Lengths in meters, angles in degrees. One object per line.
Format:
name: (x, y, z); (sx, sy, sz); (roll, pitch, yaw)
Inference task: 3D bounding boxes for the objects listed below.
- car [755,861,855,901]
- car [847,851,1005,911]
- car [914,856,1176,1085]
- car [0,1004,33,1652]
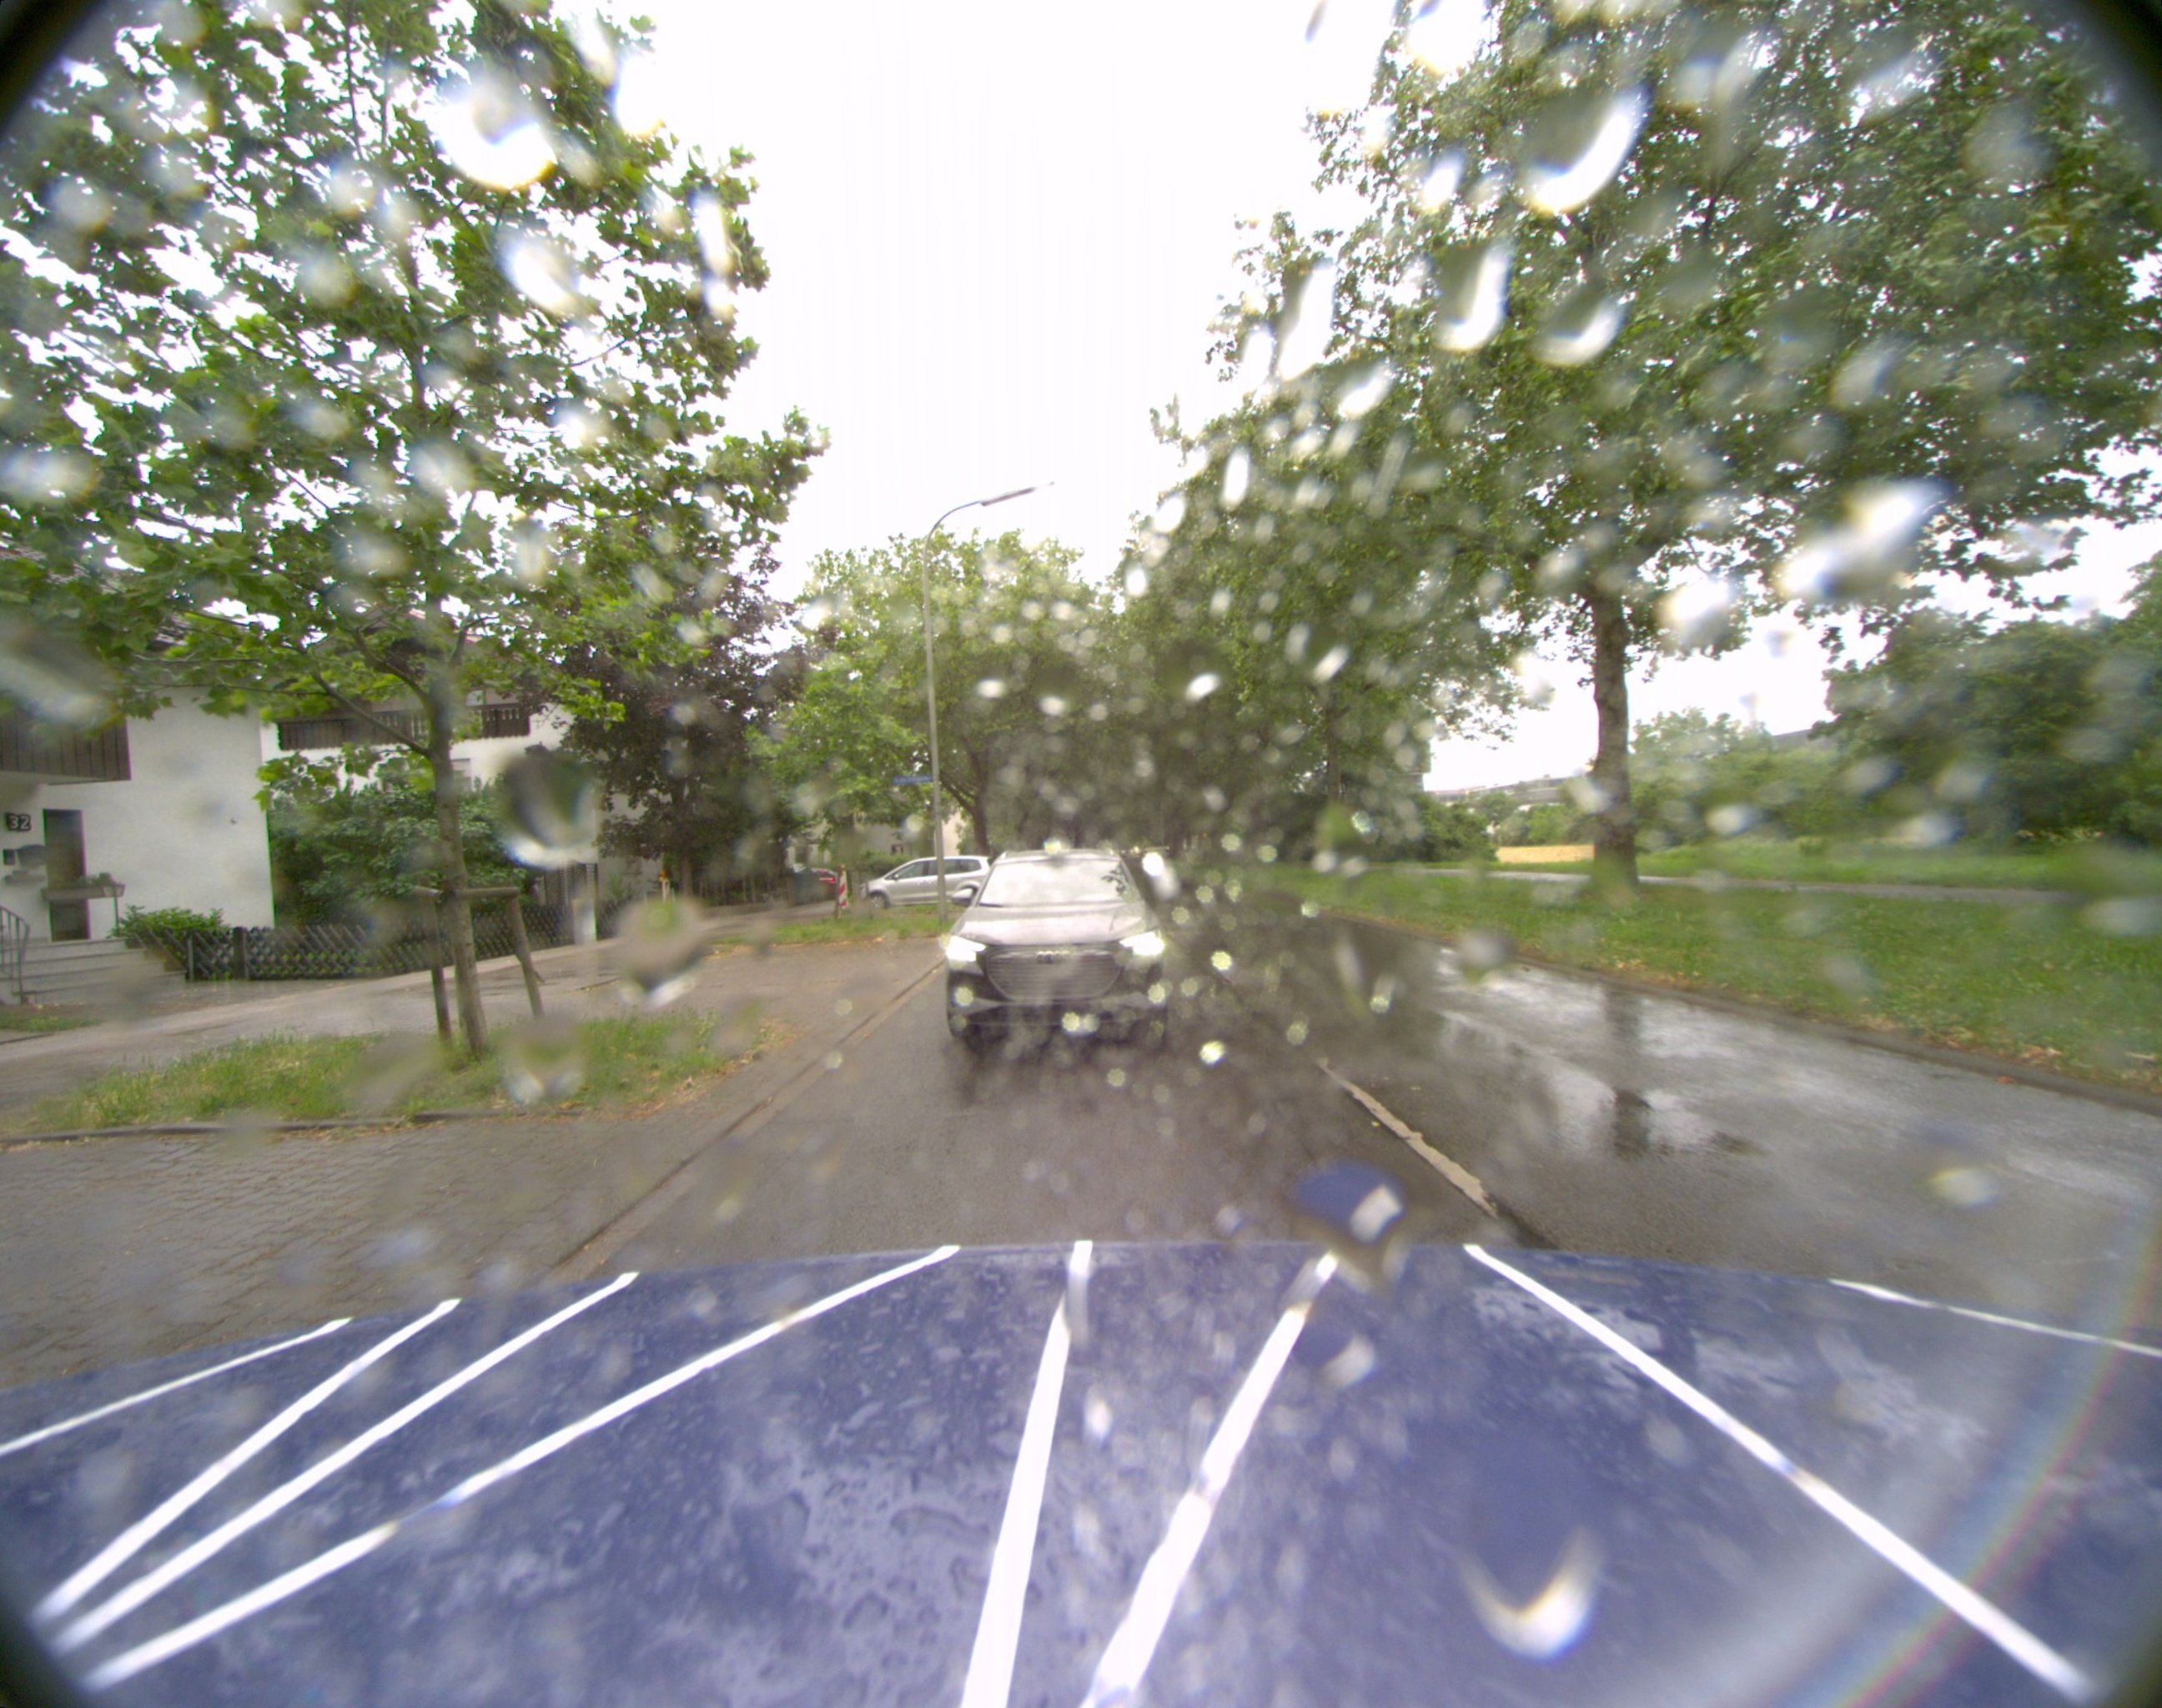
car: (-12.645, 1.239, 34.946); (3.853, 1.603, 1.843); (-3, 0, 2)
car: (-4.944, 0.850, 24.747); (4.701, 1.651, 1.976); (-3, 0, -1)
car: (-0.232, 0.864, 7.809); (1.862, 1.608, 4.423); (-3, 0, 1)
car: (-4.761, 1.132, 0.623); (4.779, 1.464, 1.937); (-2, 0, -3)
